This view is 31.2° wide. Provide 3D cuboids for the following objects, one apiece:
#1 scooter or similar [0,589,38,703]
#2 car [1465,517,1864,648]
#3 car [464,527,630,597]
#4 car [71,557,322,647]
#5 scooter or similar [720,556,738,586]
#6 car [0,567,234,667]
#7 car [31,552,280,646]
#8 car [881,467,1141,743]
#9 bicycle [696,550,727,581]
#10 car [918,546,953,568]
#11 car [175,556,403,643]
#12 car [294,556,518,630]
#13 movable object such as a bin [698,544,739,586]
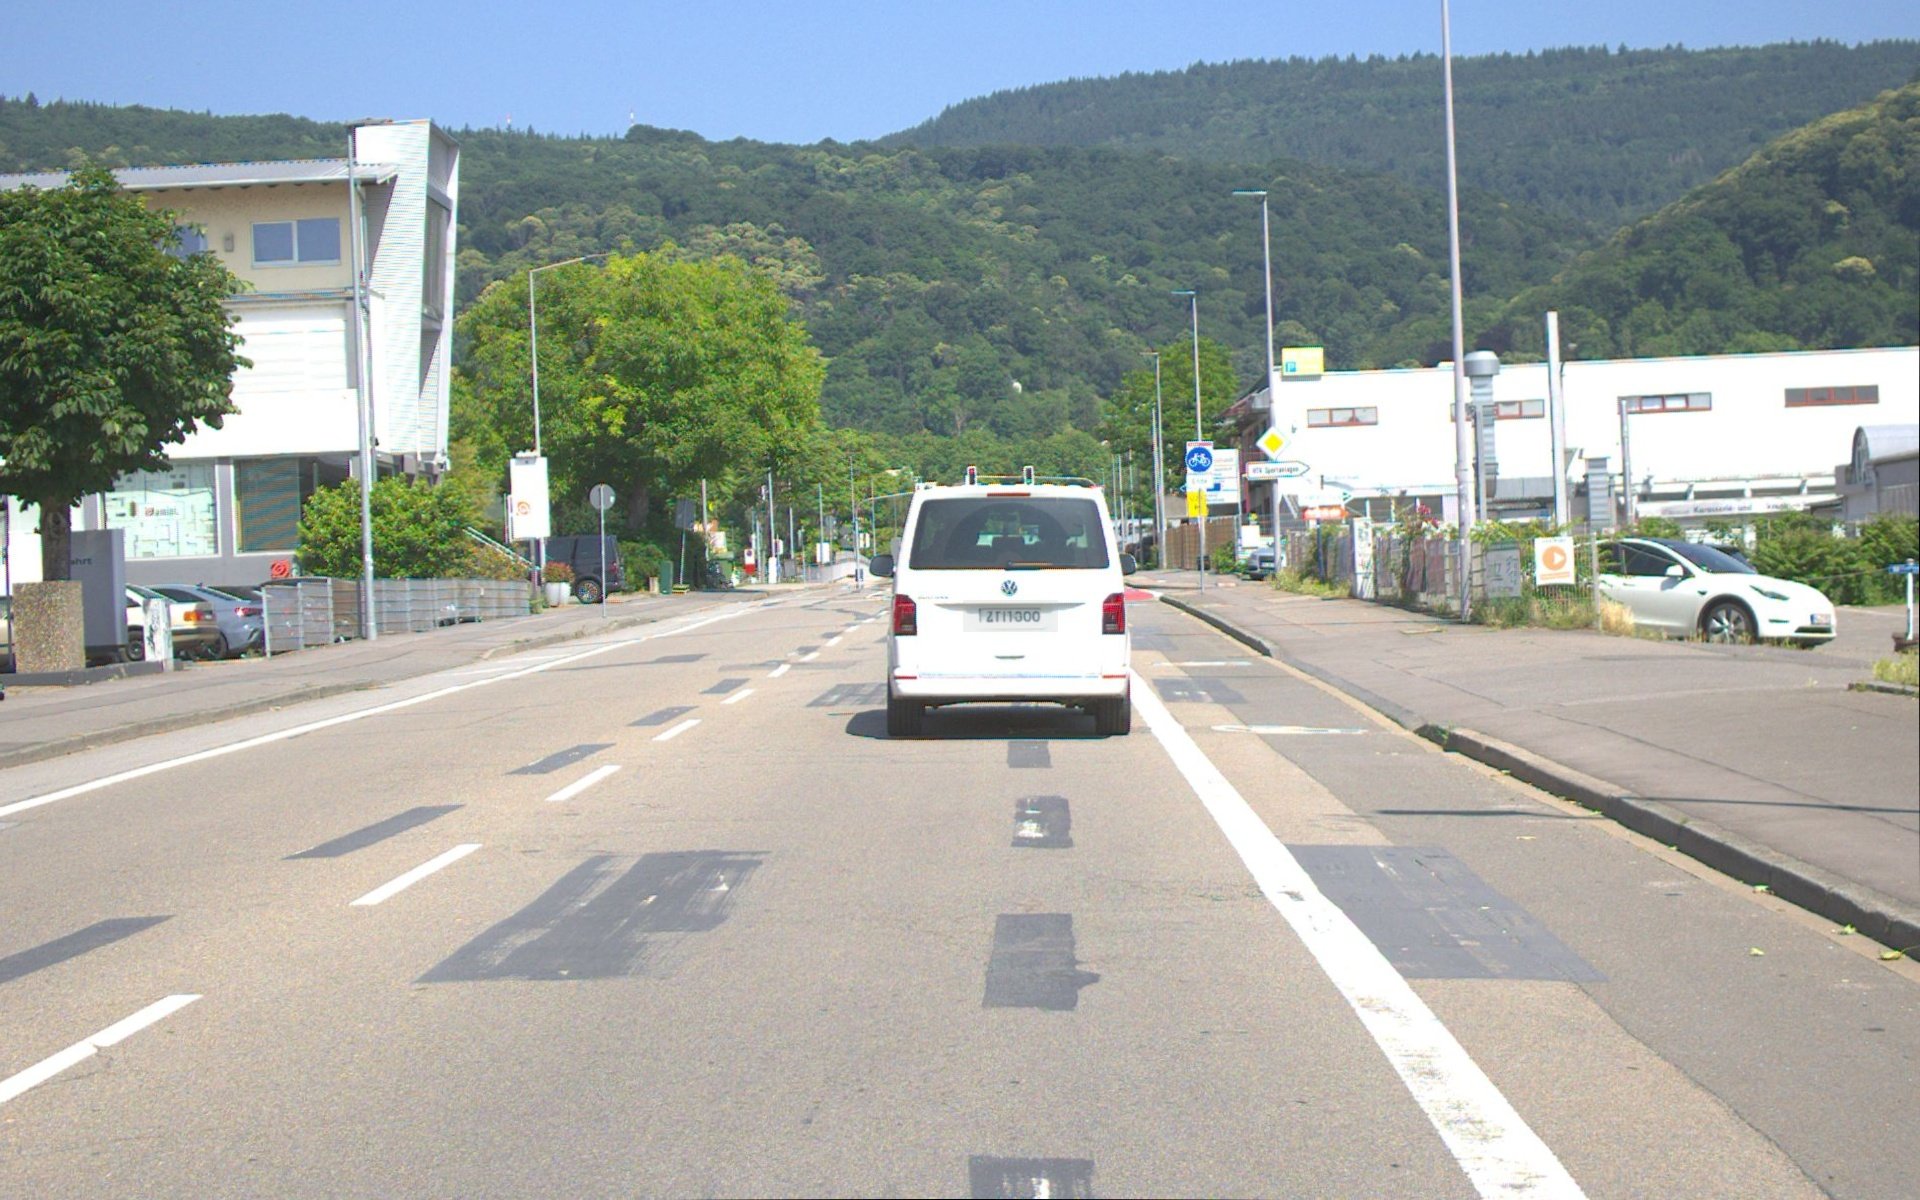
[{"bbox_3d":[-10.947,0.515,38.895,0.743,1.243,1.491,-2,1,-7],"label":"scooter or similar"},{"bbox_3d":[9.611,-0.197,47.211,5.043,1.616,2.018,-1,-4,44],"label":"car"},{"bbox_3d":[-11.779,-1.102,98.361,4.565,1.859,2.093,-2,1,-4],"label":"car"},{"bbox_3d":[-13.432,0.052,60.648,3.987,1.438,1.859,2,-2,-1],"label":"car"},{"bbox_3d":[-8.751,-1.109,130.158,0.646,1.124,1.623,1,1,-5],"label":"scooter or similar"},{"bbox_3d":[-14.281,0.287,55.877,4.524,1.452,1.900,-2,1,0],"label":"car"},{"bbox_3d":[-13.593,0.002,58.255,3.889,1.439,1.823,2,-2,-7],"label":"car"},{"bbox_3d":[0.363,0.004,28.049,1.934,2.052,4.544,0,1,0],"label":"car"},{"bbox_3d":[-9.126,-1.268,126.368,1.026,1.114,2.766,0,1,-2],"label":"bicycle"},{"bbox_3d":[-1.568,-2.792,222.785,1.993,1.365,4.326,-3,1,2],"label":"car"},{"bbox_3d":[-13.751,-0.024,70.625,4.296,1.553,1.996,-3,1,-2],"label":"car"},{"bbox_3d":[-12.638,-0.168,78.638,4.739,1.476,2.048,-2,1,0],"label":"car"},{"bbox_3d":[-9.548,-1.397,135.871,1.448,1.585,1.307,-3,1,-7],"label":"movable object such as a bin"}]
